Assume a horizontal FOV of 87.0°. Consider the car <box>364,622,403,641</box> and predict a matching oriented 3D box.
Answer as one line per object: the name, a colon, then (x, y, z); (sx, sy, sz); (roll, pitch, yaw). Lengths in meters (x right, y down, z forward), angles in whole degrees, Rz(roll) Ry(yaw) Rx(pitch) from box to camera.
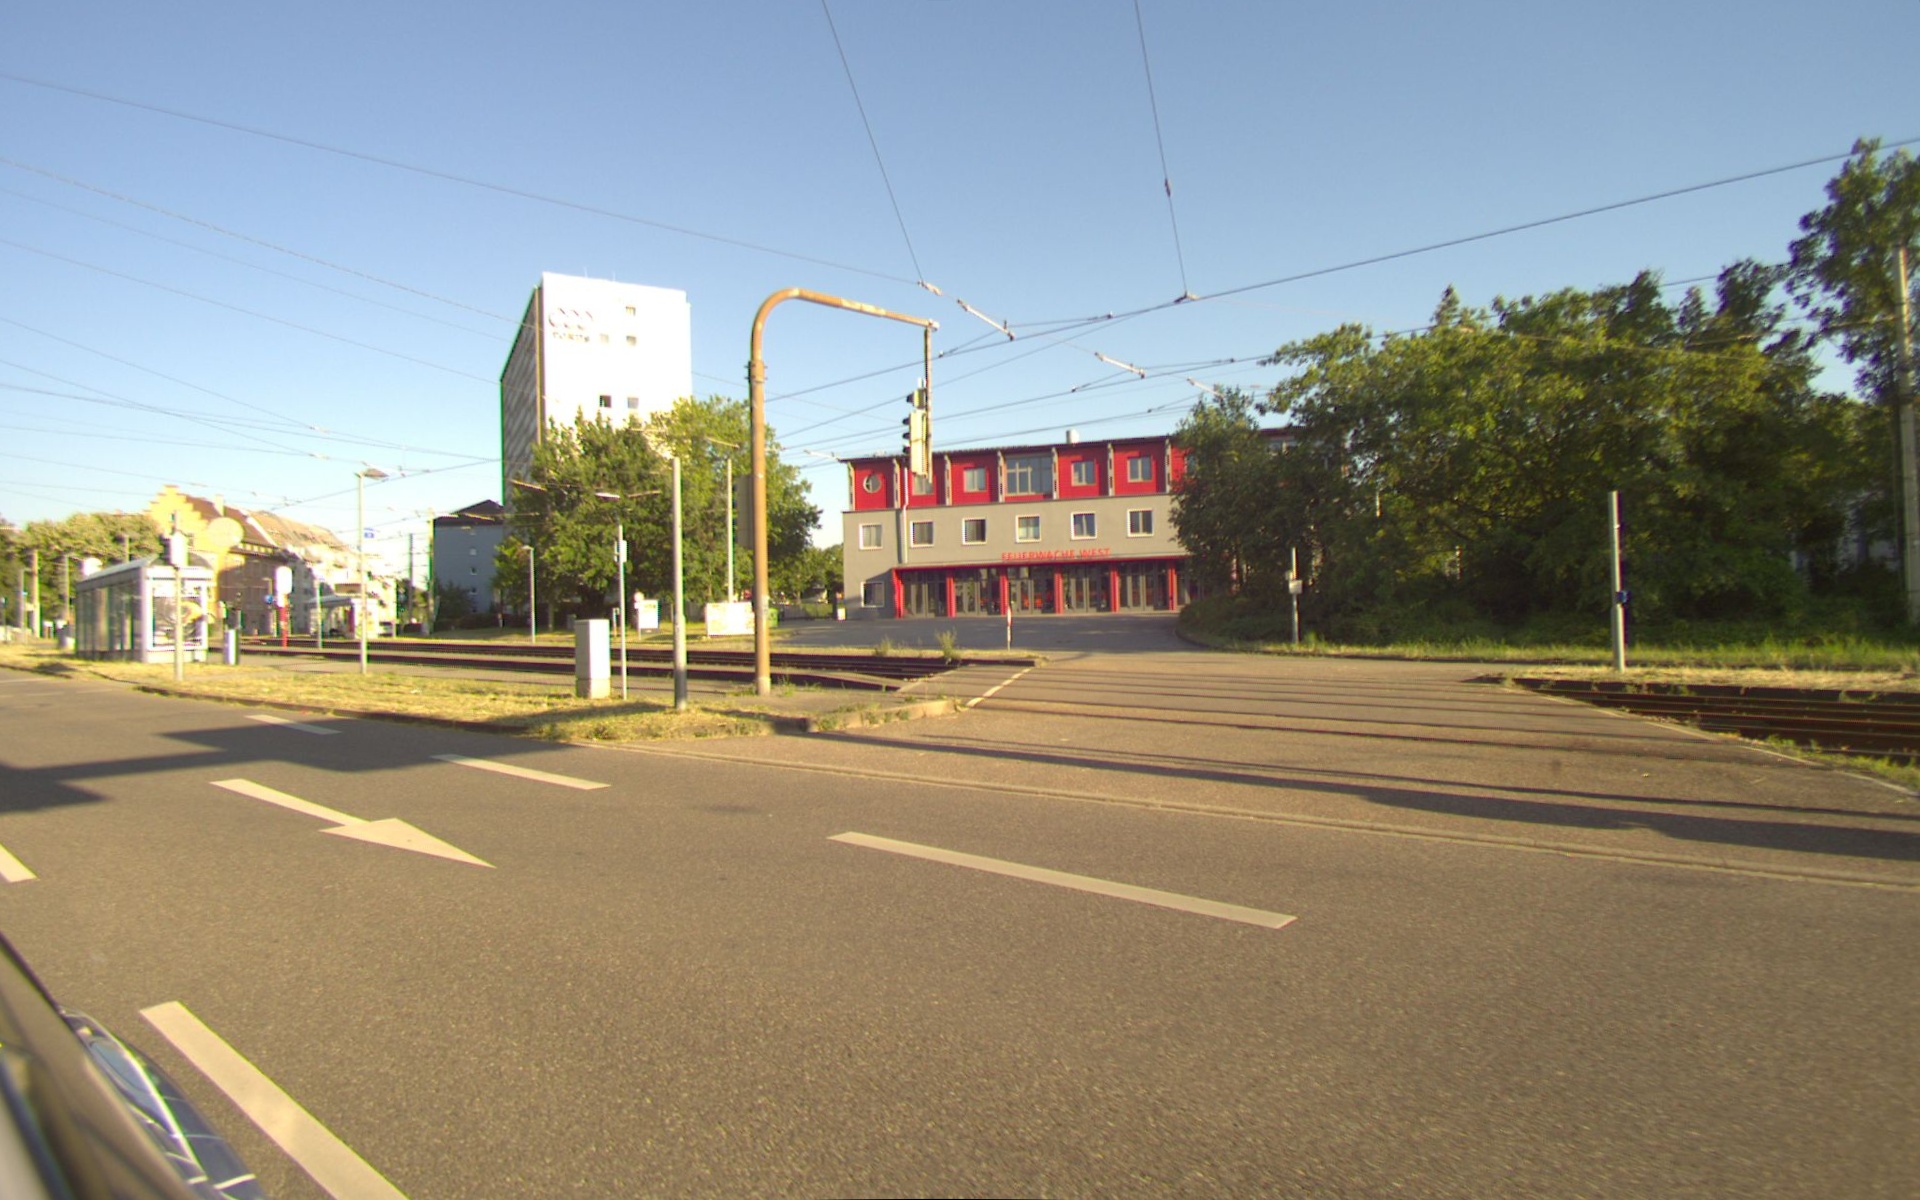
car: (-50.309, 2.769, 88.244); (4.435, 1.560, 1.718); (-3, -2, 42)
